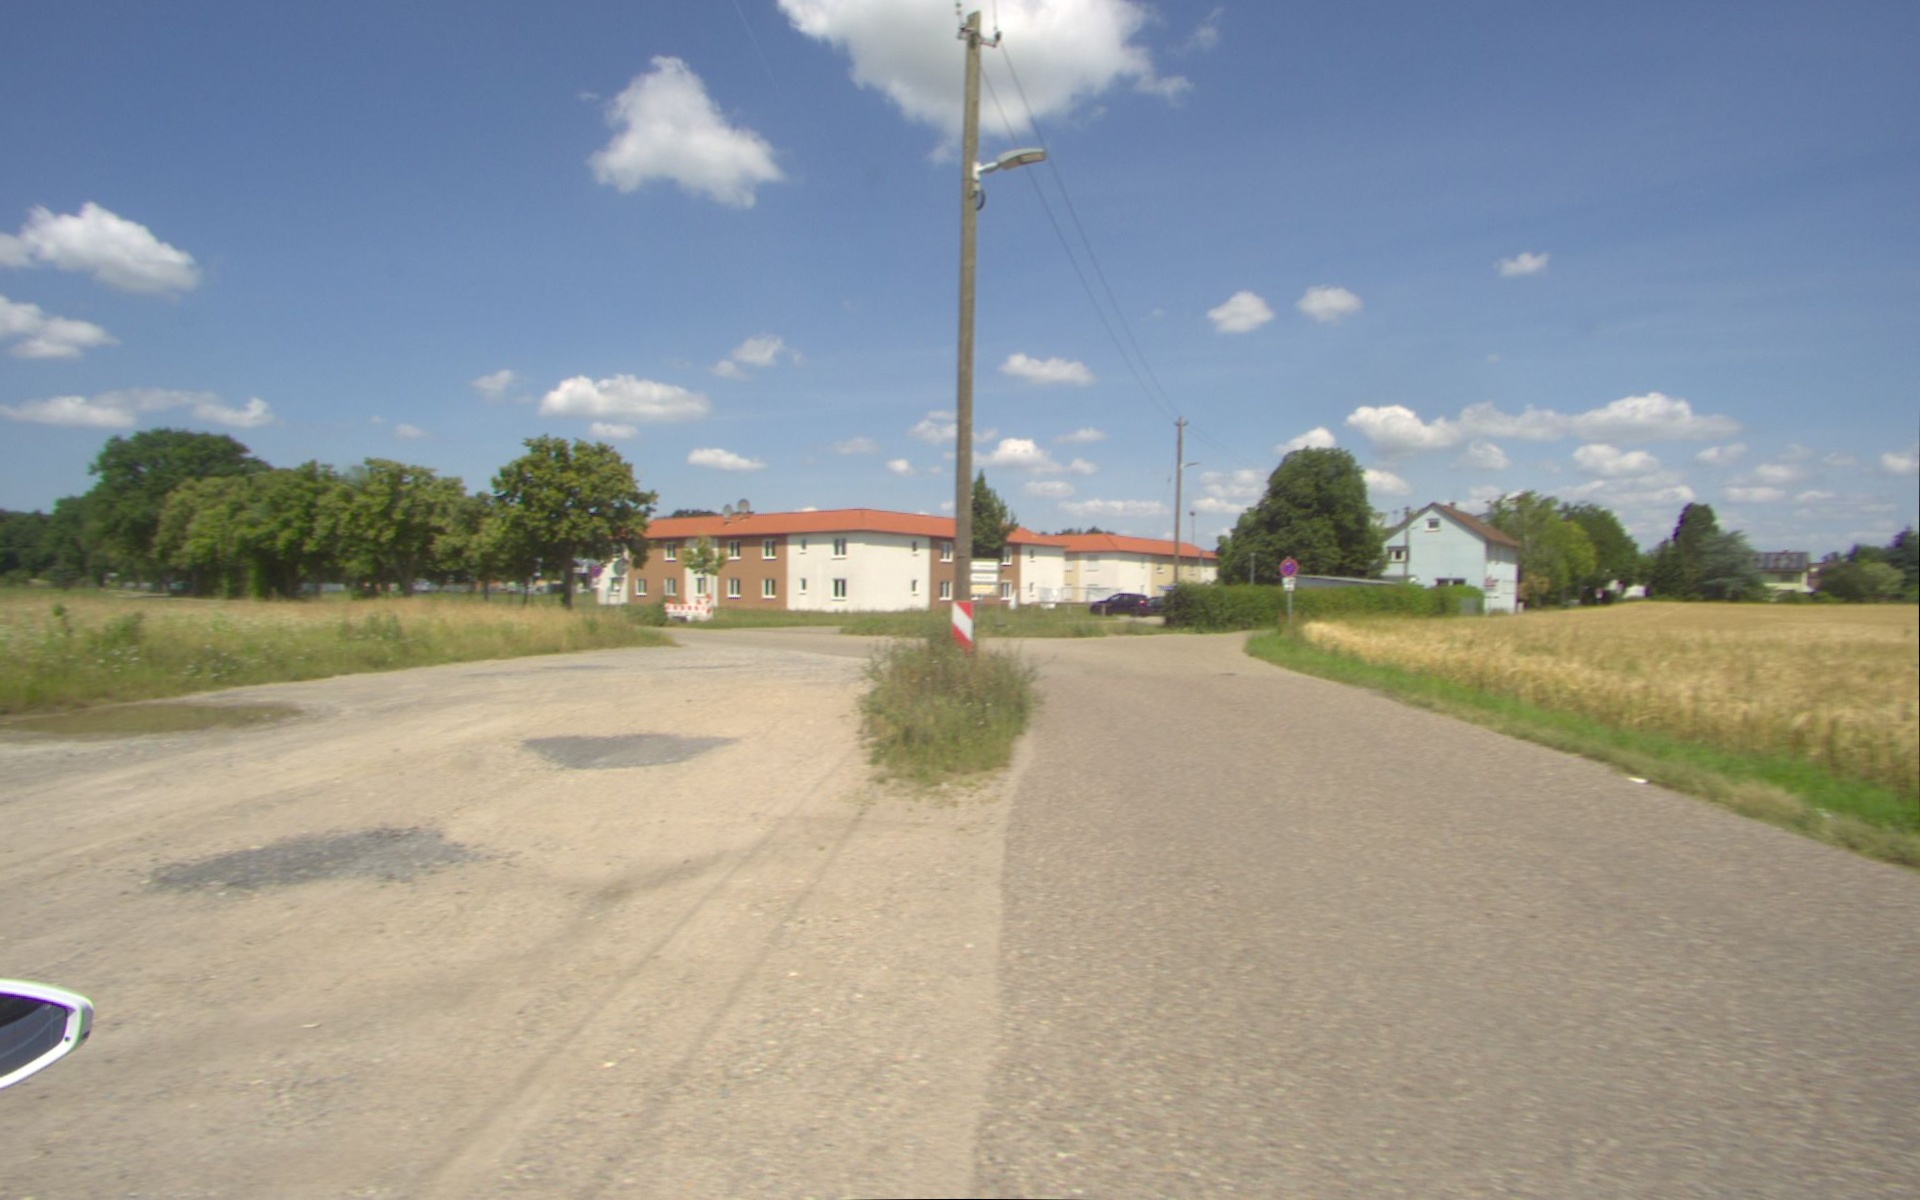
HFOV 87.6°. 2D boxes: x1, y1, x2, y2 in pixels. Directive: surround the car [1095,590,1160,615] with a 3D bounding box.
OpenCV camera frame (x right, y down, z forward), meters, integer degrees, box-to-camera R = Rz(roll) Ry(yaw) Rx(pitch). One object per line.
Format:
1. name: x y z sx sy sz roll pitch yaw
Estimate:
1. car: 11.738 0.175 70.259 4.094 1.636 1.987 1 1 37
